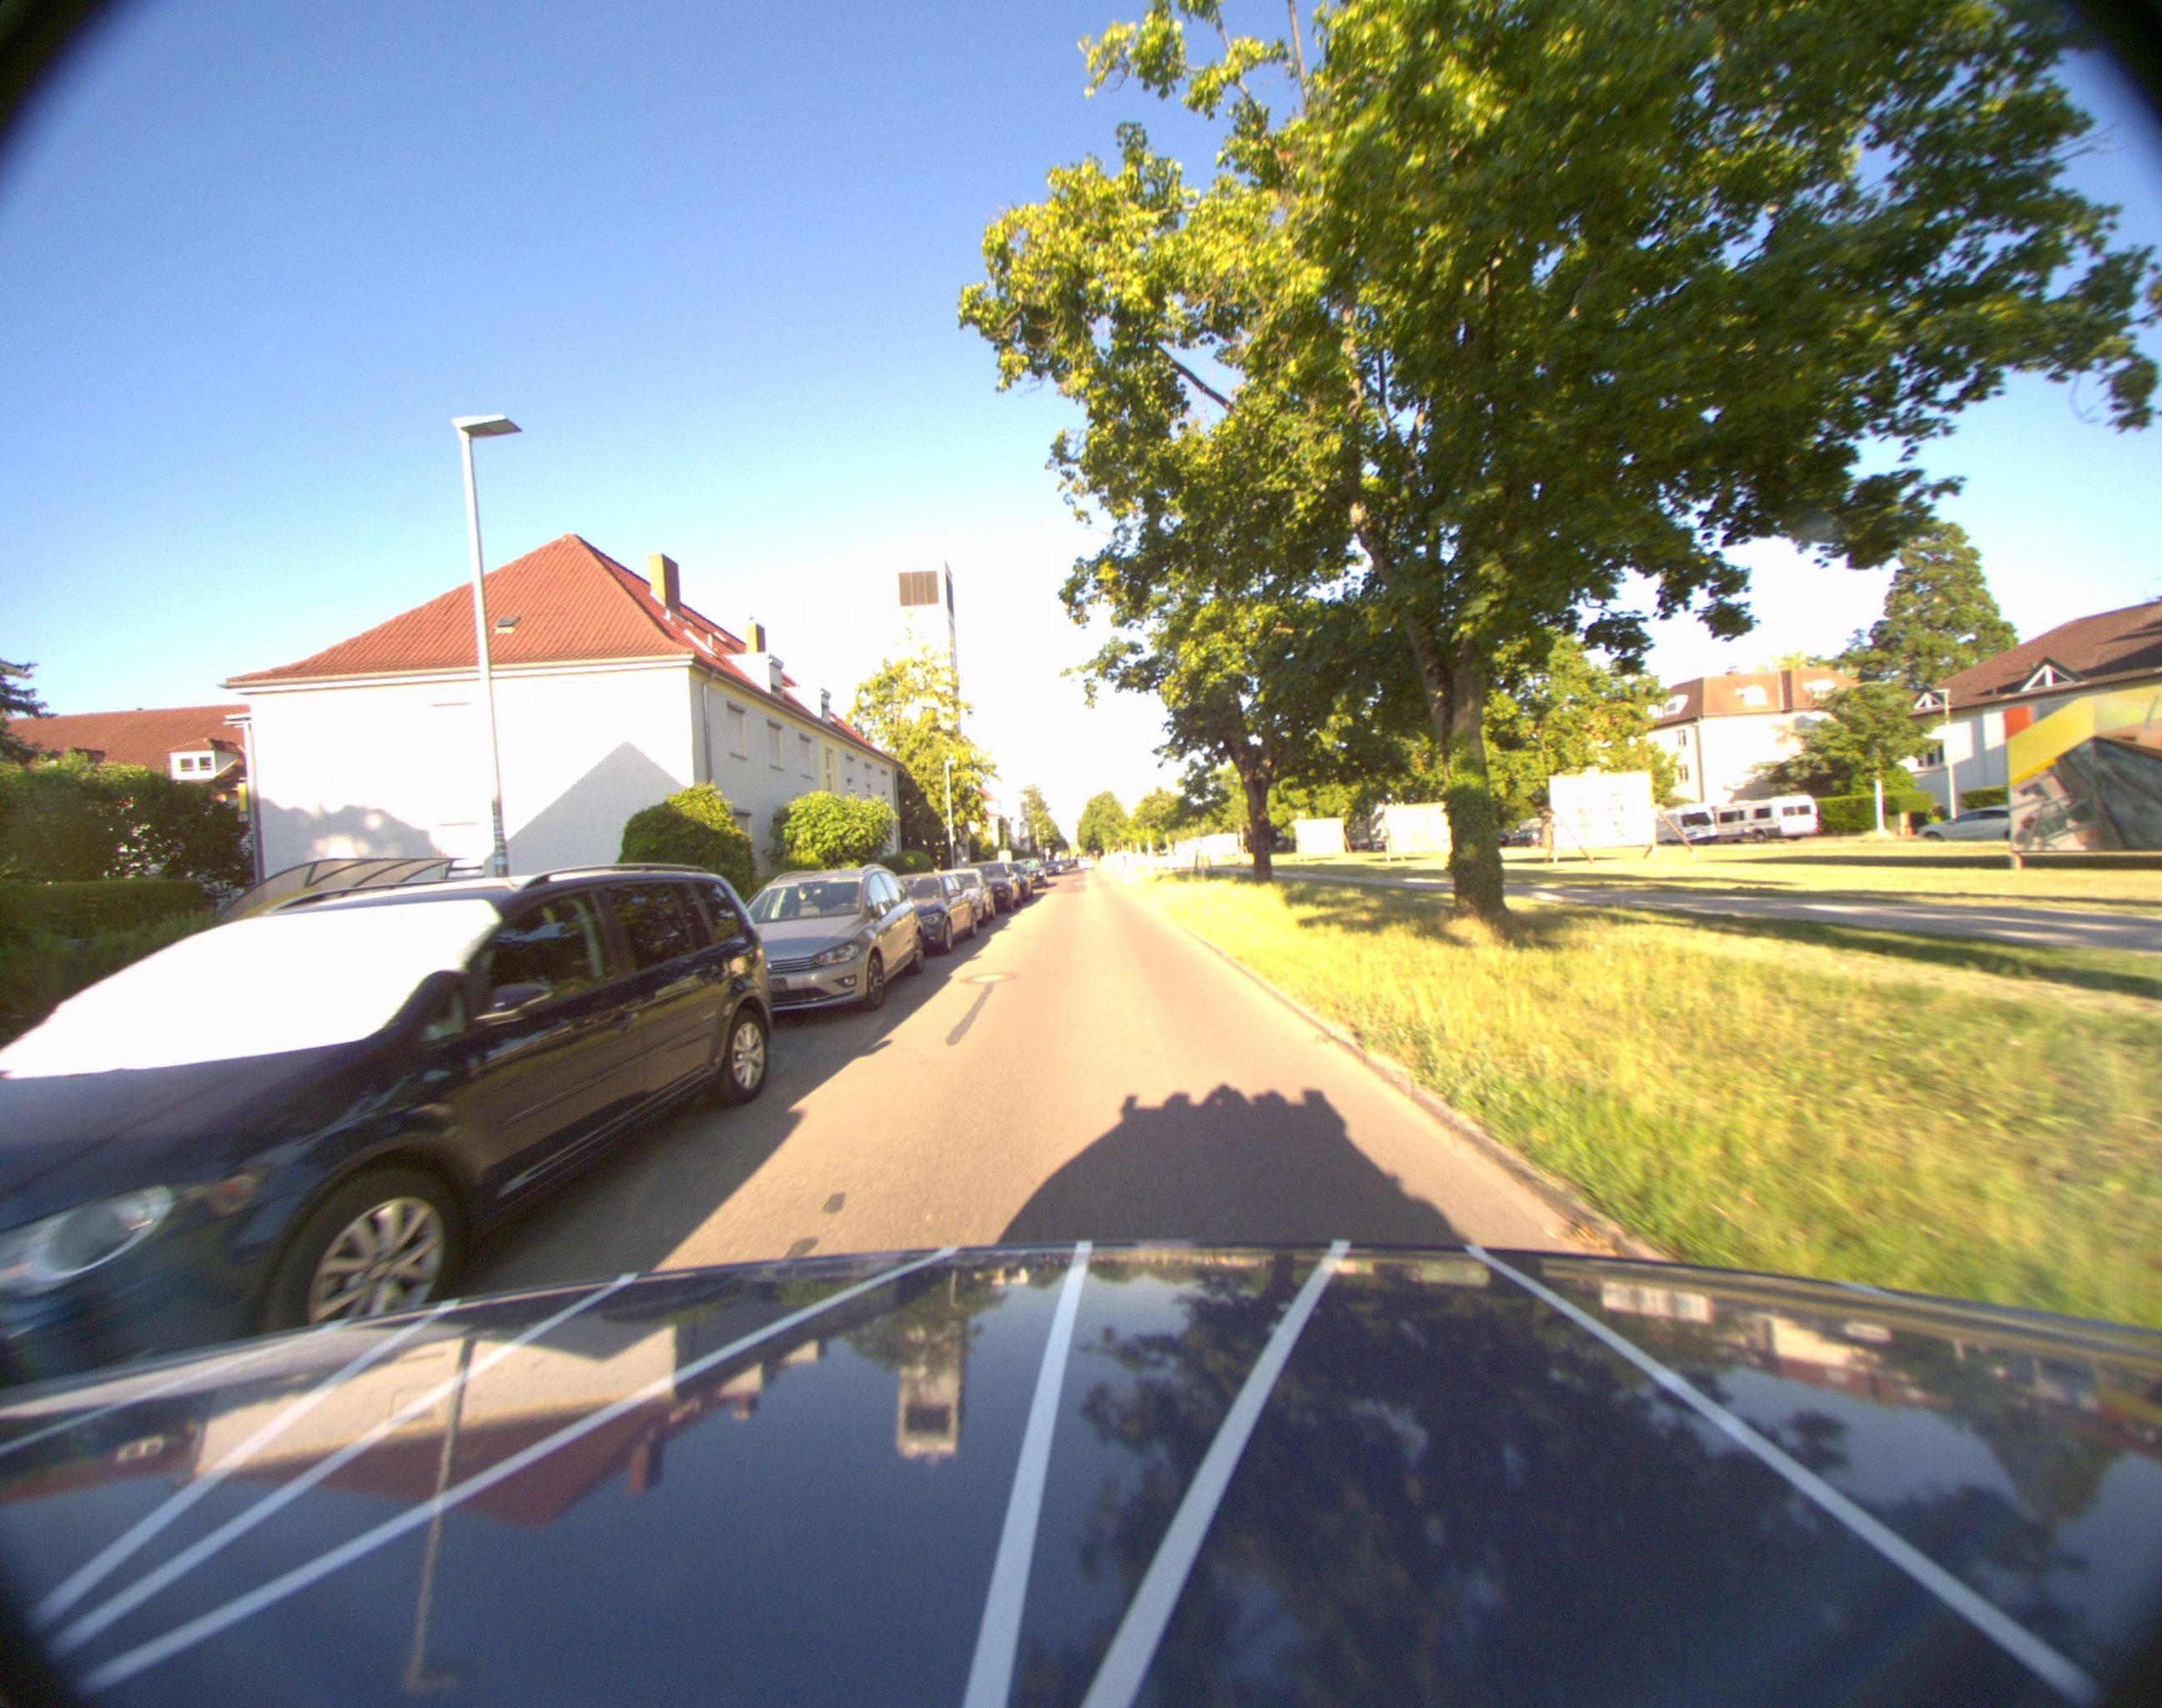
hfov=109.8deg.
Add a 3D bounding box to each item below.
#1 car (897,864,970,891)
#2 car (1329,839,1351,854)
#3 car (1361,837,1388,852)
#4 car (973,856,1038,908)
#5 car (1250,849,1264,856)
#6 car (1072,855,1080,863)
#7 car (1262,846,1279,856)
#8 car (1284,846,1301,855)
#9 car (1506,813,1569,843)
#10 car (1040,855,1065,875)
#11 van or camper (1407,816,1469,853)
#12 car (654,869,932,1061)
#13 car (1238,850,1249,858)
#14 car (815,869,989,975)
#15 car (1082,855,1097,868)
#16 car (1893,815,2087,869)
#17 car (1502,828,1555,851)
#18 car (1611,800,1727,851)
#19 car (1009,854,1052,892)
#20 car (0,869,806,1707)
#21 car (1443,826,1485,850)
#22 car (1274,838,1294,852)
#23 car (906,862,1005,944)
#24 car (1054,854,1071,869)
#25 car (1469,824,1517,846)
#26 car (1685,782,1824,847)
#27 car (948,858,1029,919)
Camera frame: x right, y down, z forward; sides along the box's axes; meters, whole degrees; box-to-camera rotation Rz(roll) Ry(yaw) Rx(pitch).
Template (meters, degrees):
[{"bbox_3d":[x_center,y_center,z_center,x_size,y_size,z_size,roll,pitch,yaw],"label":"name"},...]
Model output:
[{"bbox_3d":[-10.901,1.698,56.420,4.859,1.478,2.001,-4,4,0],"label":"car"},{"bbox_3d":[40.212,-1.166,117.844,1.998,2.142,4.000,-4,0,1],"label":"car"},{"bbox_3d":[40.630,-1.298,105.218,1.894,1.901,4.714,-4,0,1],"label":"car"},{"bbox_3d":[-2.934,1.056,30.488,1.938,1.710,4.621,-6,0,0],"label":"car"},{"bbox_3d":[41.029,-0.401,177.137,1.999,1.490,3.999,-3,-1,-4],"label":"car"},{"bbox_3d":[-1.282,1.361,204.198,1.998,2.179,4.001,-3,-1,1],"label":"car"},{"bbox_3d":[35.001,-0.480,140.488,1.999,1.718,4.345,-3,-1,-1],"label":"car"},{"bbox_3d":[34.782,-0.548,124.871,1.857,1.308,4.042,-5,0,3],"label":"car"},{"bbox_3d":[40.732,-2.292,67.970,1.998,2.583,6.089,0,1,0],"label":"car"},{"bbox_3d":[-2.571,1.001,70.533,1.827,1.552,4.622,-10,0,1],"label":"car"},{"bbox_3d":[34.321,-1.798,73.274,2.648,3.243,6.905,-4,0,1],"label":"van or camper"},{"bbox_3d":[-3.088,1.069,9.224,1.729,1.552,4.415,-4,0,-2],"label":"car"},{"bbox_3d":[35.318,0.034,164.845,1.894,1.513,3.681,-3,0,6],"label":"car"},{"bbox_3d":[-3.178,1.147,14.575,1.998,1.454,4.562,-5,0,2],"label":"car"},{"bbox_3d":[1.115,1.000,102.585,1.998,1.483,4.000,-3,0,0],"label":"car"},{"bbox_3d":[34.292,-0.445,28.913,1.838,1.888,4.642,0,1,2],"label":"car"},{"bbox_3d":[33.902,-1.072,57.664,1.417,1.555,4.309,-4,0,0],"label":"car"},{"bbox_3d":[34.126,-1.606,44.425,2.266,2.810,5.870,0,1,1],"label":"car"},{"bbox_3d":[-2.727,1.009,42.029,1.837,1.722,5.031,-6,1,0],"label":"car"},{"bbox_3d":[-3.118,1.036,3.589,1.770,1.625,4.763,-5,1,0],"label":"car"},{"bbox_3d":[40.444,-1.687,80.338,1.942,2.405,5.116,0,1,1],"label":"car"},{"bbox_3d":[34.781,-1.513,130.439,1.999,2.161,4.571,-3,0,-2],"label":"car"},{"bbox_3d":[-3.092,1.148,19.523,1.732,1.539,4.206,-8,1,-1],"label":"car"},{"bbox_3d":[-2.466,1.019,102.778,1.999,1.588,4.885,-8,1,0],"label":"car"},{"bbox_3d":[40.523,-1.848,74.935,1.974,1.993,5.050,-4,0,1],"label":"car"},{"bbox_3d":[39.896,-2.241,45.345,2.309,3.539,6.764,0,1,1],"label":"car"},{"bbox_3d":[-2.902,1.040,24.962,1.859,1.647,4.820,-5,0,1],"label":"car"}]
